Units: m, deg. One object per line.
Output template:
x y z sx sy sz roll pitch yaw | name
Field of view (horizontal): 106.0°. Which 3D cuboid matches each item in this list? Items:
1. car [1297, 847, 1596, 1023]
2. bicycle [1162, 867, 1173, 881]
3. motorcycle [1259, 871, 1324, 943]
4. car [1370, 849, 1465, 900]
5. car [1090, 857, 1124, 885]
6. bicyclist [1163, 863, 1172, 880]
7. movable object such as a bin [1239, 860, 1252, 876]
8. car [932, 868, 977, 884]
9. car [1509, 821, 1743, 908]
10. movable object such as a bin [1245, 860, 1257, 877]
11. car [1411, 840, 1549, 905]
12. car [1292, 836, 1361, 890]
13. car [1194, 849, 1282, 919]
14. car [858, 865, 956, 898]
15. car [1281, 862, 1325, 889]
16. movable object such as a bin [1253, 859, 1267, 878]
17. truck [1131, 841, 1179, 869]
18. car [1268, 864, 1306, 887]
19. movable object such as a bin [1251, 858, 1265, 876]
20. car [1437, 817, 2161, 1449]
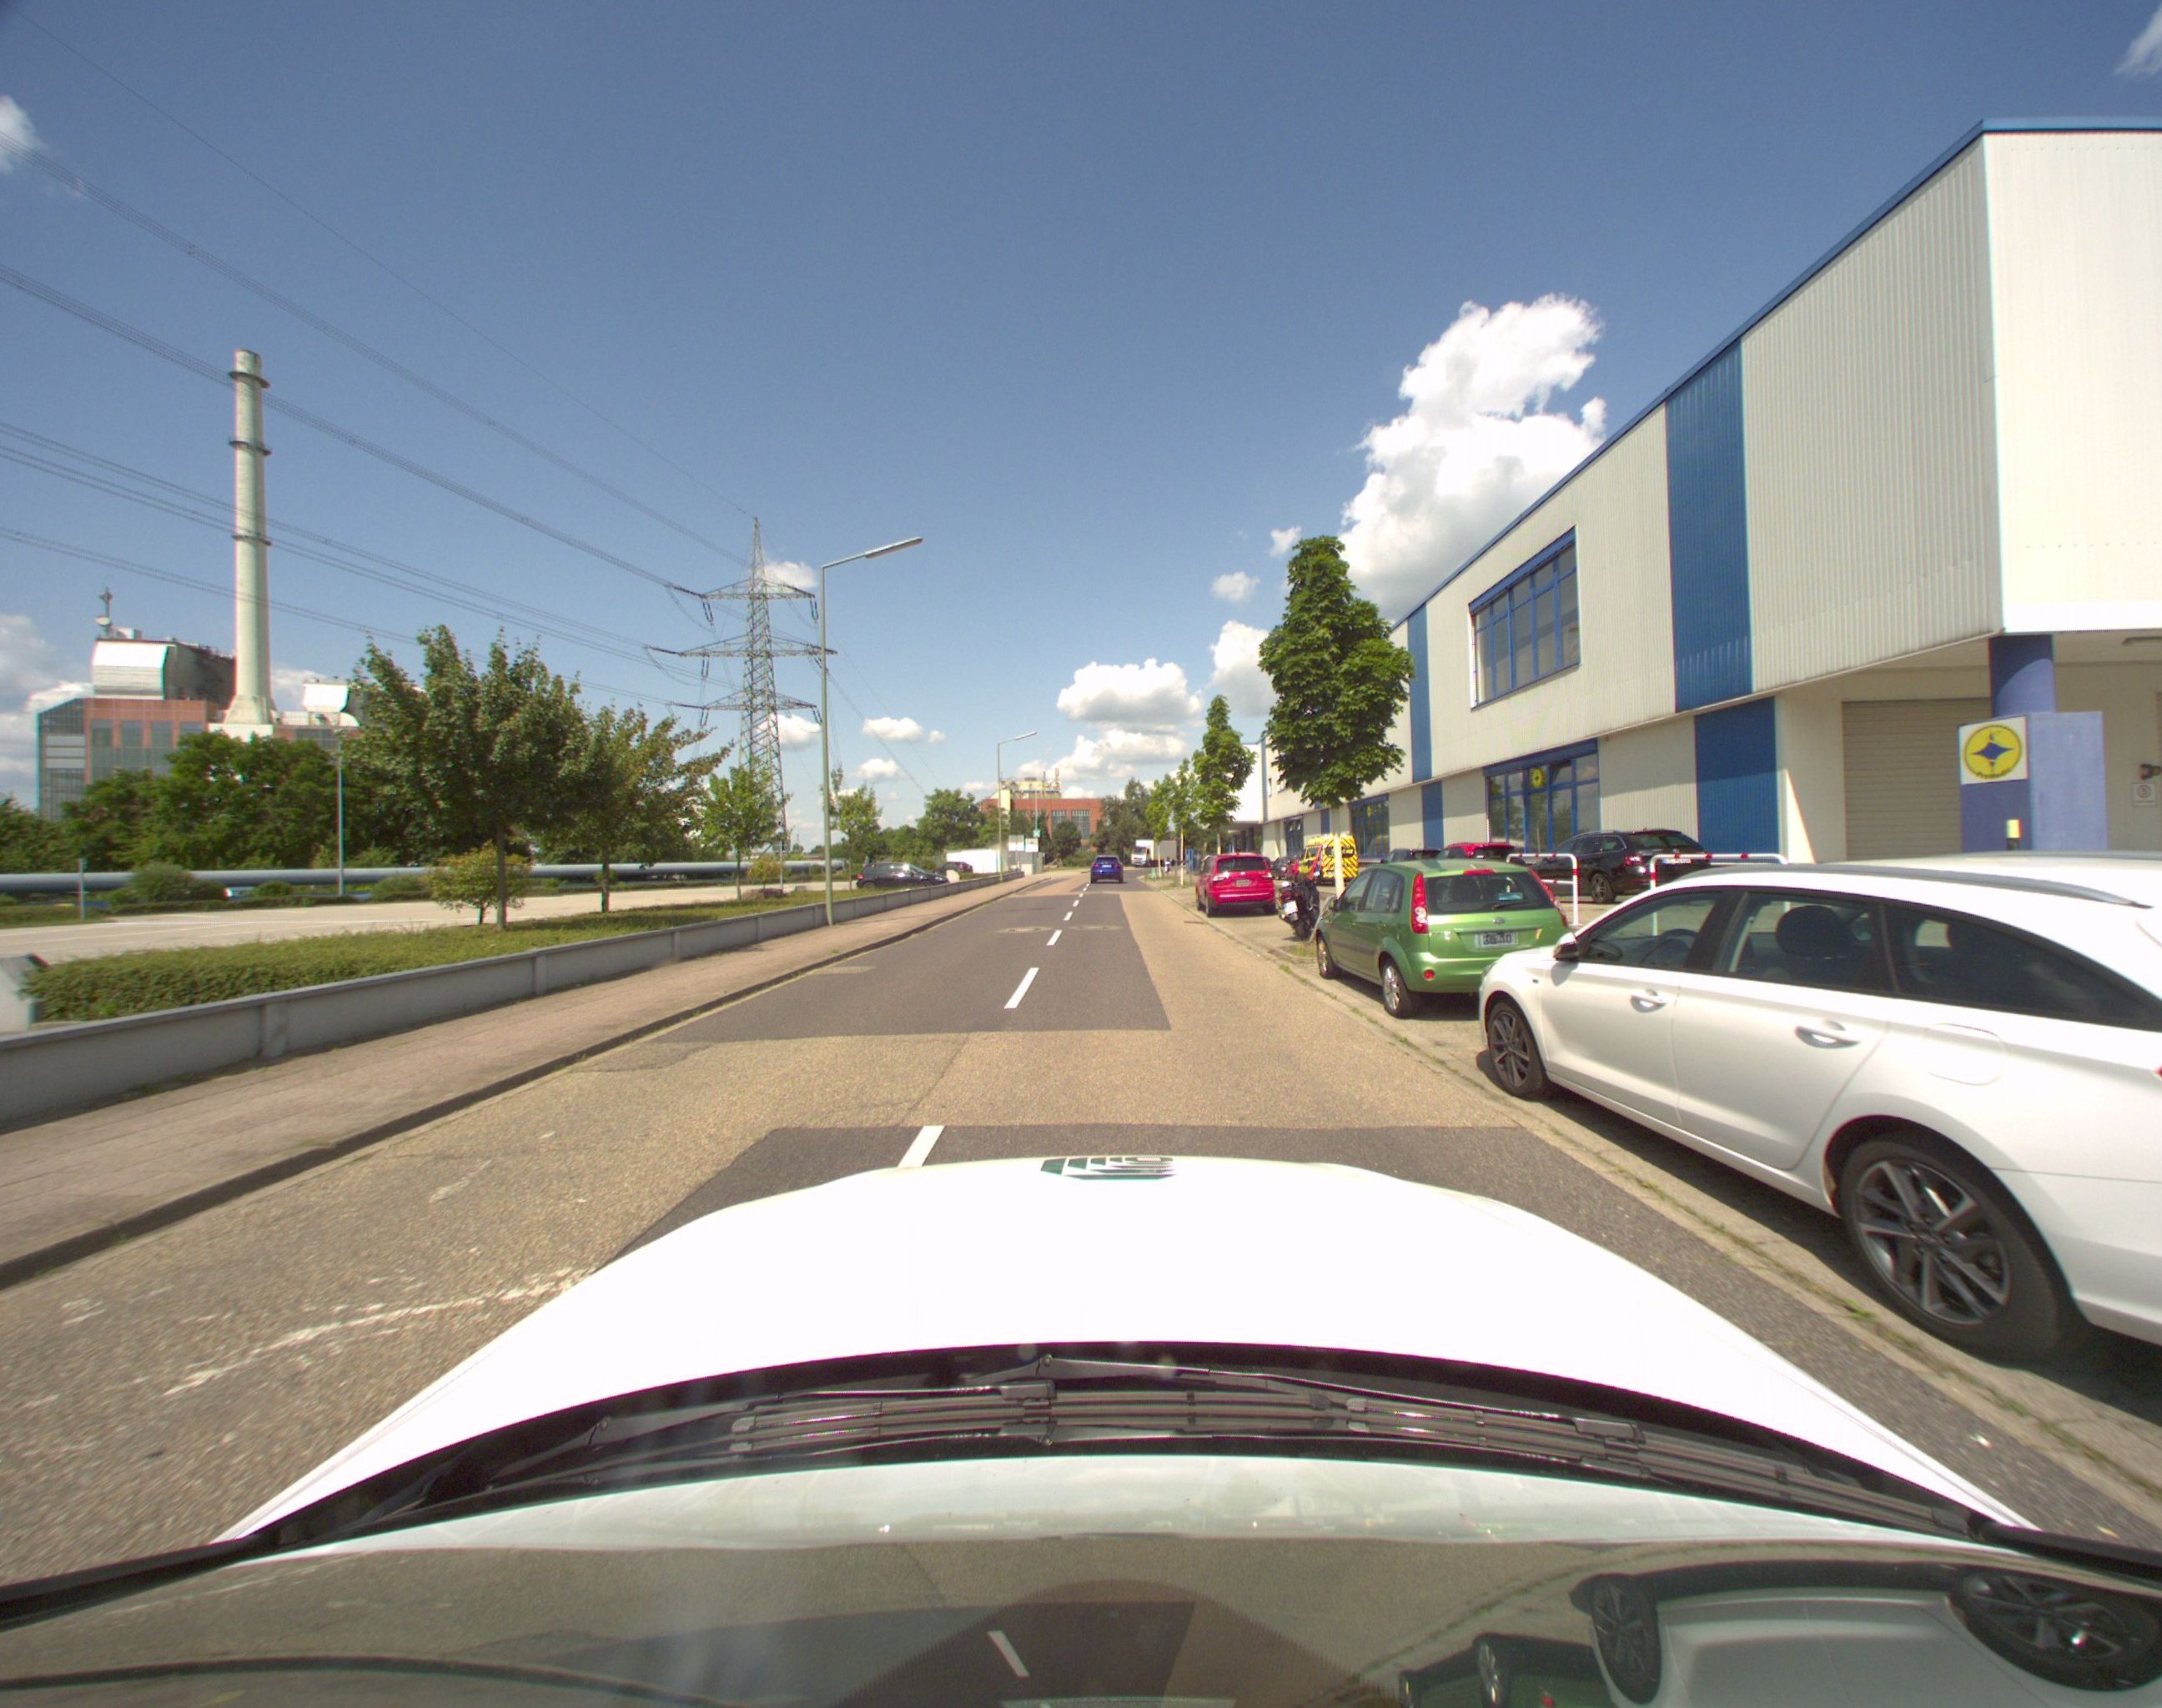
3.733 0.744 9.148 1.662 1.520 3.996 -1 -1 2 | car
7.341 1.695 68.876 0.662 1.109 2.175 -2 -1 13 | bicycle
3.989 0.952 15.296 0.848 1.200 2.376 -2 -1 22 | motorcycle
11.793 0.725 28.867 1.708 1.652 4.216 -1 -2 2 | car
1.547 1.017 49.051 1.903 1.593 4.702 -1 -1 1 | car
7.346 1.471 69.063 0.658 1.397 0.861 -2 -1 13 | bicyclist
14.309 1.230 70.765 0.801 1.413 1.405 0 -1 0 | movable object such as a bin
-11.680 2.038 75.005 3.948 1.378 1.815 -2 -1 36 | car
11.004 0.306 16.940 1.820 1.513 4.642 -1 -3 2 | car
14.081 1.219 67.441 0.801 1.413 1.174 0 -1 0 | movable object such as a bin
11.420 0.565 23.703 1.986 1.657 4.291 -1 -2 2 | car
11.998 0.470 40.181 1.916 2.464 5.261 -1 -1 2 | car
4.261 0.783 22.718 1.747 1.651 4.681 -3 -1 4 | car
-7.861 1.241 37.037 3.972 1.376 1.804 -1 -1 1 | car
12.558 1.211 46.315 1.566 1.490 3.818 -1 -1 2 | car
13.975 1.139 63.459 0.801 1.413 1.358 0 -1 1 | movable object such as a bin
9.998 0.064 108.942 2.299 3.567 9.426 0 1 32 | truck
12.706 1.310 50.365 1.490 1.403 3.856 -1 -1 2 | car
14.089 1.055 64.927 0.801 1.413 1.358 0 -1 1 | movable object such as a bin
3.552 0.692 3.886 1.828 1.520 4.462 -1 -1 1 | car
